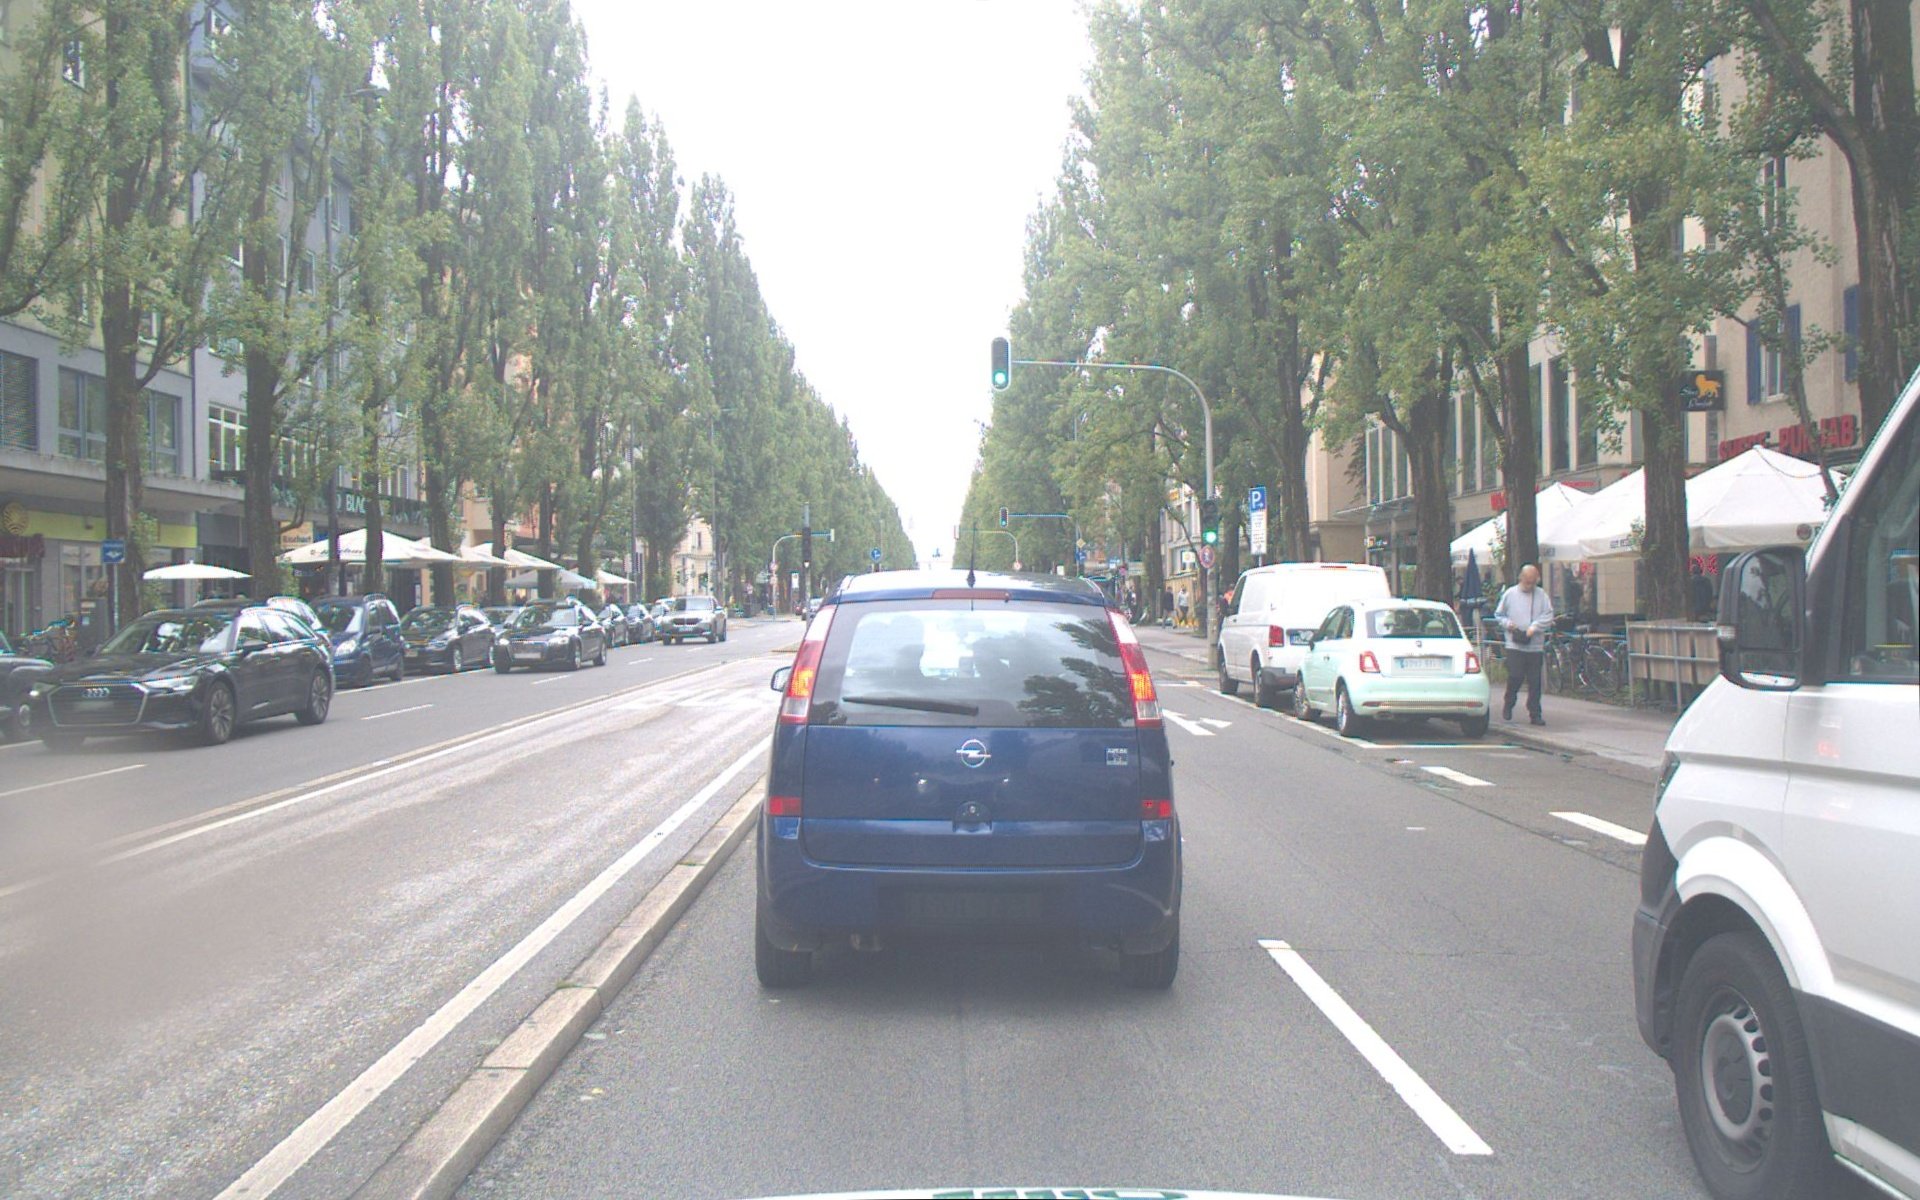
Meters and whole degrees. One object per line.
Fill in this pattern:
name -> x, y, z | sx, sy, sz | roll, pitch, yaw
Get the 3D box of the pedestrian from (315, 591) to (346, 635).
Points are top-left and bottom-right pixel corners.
pedestrian -> -20.882, 0.419, 54.860 | 0.750, 1.434, 0.799 | 1, -1, -6

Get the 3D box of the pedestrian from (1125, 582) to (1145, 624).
pedestrian -> 7.816, 0.128, 73.796 | 0.625, 1.859, 0.885 | 1, -1, -11

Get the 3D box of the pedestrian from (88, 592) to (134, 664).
pedestrian -> -20.621, 0.677, 40.187 | 0.740, 1.715, 0.675 | -1, -1, 1

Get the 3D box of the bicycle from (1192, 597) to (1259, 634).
bicycle -> 9.219, 0.525, 57.443 | 2.182, 1.225, 0.626 | -1, 0, -3

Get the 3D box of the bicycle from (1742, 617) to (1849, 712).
bicycle -> 9.453, 0.711, 18.758 | 0.342, 1.013, 1.453 | -2, 0, -4

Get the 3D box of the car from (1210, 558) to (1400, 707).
car -> 4.968, 0.418, 24.441 | 1.751, 1.980, 4.729 | 0, 0, -1

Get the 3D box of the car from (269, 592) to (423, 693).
car -> -11.798, 0.764, 32.030 | 1.676, 1.751, 3.919 | -2, 0, -4

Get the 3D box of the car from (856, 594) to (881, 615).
car -> -6.861, 0.340, 124.081 | 1.699, 1.491, 3.364 | -1, 0, -1

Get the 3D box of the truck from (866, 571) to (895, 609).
truck -> -7.381, -0.934, 154.186 | 2.334, 3.405, 7.109 | -1, 0, -1

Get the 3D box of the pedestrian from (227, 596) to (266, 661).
pedestrian -> -19.360, 0.774, 44.902 | 0.740, 1.715, 0.675 | -1, -1, 0

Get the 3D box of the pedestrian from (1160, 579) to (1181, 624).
pedestrian -> 8.789, 0.074, 69.189 | 0.625, 1.859, 0.885 | 1, -1, -11

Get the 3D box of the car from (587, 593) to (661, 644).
car -> -12.102, 0.653, 59.784 | 1.828, 1.694, 4.119 | -2, 0, -1

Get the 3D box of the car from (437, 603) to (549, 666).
car -> -11.903, 0.850, 42.436 | 1.698, 1.450, 4.142 | -2, 0, -1

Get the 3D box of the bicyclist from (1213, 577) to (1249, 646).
bicyclist -> 7.116, 0.293, 43.449 | 0.752, 1.797, 0.885 | -1, 0, -1

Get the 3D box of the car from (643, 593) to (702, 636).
car -> -12.228, 0.608, 70.570 | 1.828, 1.694, 4.119 | -2, 0, -1

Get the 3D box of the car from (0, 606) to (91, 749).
car -> -11.657, 0.913, 18.226 | 1.828, 1.579, 4.413 | -2, 0, -1

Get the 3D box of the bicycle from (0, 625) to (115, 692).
bicycle -> -16.172, 1.032, 29.370 | 1.909, 1.114, 0.718 | 2, 0, -7

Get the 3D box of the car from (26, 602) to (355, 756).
car -> -8.817, 0.817, 19.460 | 1.663, 1.488, 4.712 | -2, 0, -1

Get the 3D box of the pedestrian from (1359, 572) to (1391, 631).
pedestrian -> 12.350, 0.055, 49.203 | 0.660, 1.715, 0.758 | -1, -1, -5

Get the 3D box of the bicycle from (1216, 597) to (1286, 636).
bicycle -> 9.588, 0.526, 54.536 | 2.182, 1.225, 0.626 | -1, 0, -3

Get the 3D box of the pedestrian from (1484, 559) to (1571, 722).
pedestrian -> 6.439, 0.455, 18.812 | 0.809, 1.804, 0.871 | -1, 0, 11

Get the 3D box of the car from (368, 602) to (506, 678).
car -> -11.756, 0.848, 37.467 | 1.762, 1.514, 4.349 | -2, 0, -1

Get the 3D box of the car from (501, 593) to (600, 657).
car -> -11.938, 0.688, 48.487 | 1.828, 1.694, 4.400 | -2, 0, -1

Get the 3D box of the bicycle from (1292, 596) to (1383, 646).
bicycle -> 9.708, 0.529, 42.576 | 2.182, 1.225, 0.626 | -1, 0, -3

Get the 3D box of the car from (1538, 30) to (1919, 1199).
car -> 2.772, 0.237, 1.608 | 2.021, 2.536, 6.729 | 0, 0, -1

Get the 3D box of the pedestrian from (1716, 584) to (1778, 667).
pedestrian -> 13.037, 0.418, 27.423 | 0.625, 1.347, 0.800 | -1, 0, -1

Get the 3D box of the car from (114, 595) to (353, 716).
car -> -11.571, 0.809, 26.724 | 1.828, 1.693, 4.610 | -2, 0, -1

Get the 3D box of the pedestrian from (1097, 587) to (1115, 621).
pedestrian -> 7.684, 0.200, 87.068 | 0.865, 1.797, 0.769 | -1, 0, -4

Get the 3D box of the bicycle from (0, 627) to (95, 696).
bicycle -> -16.100, 1.052, 28.541 | 1.909, 1.114, 0.718 | 2, 0, -7

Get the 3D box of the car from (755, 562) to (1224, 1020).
car -> 0.084, 0.659, 7.781 | 1.637, 1.596, 3.999 | 0, 0, -1

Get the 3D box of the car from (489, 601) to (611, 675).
car -> -9.081, 0.805, 36.959 | 1.710, 1.459, 4.129 | -2, 0, -1

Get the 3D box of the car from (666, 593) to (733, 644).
car -> -9.102, 0.624, 58.022 | 1.735, 1.663, 4.454 | -2, 0, -2

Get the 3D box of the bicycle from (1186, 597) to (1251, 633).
bicycle -> 9.175, 0.526, 58.820 | 2.182, 1.225, 0.626 | -1, 0, -3

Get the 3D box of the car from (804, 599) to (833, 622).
car -> -10.612, 0.781, 124.421 | 1.828, 1.695, 4.119 | -1, 0, -1

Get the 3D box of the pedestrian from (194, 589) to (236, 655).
pedestrian -> -19.535, 0.574, 43.378 | 0.740, 1.715, 0.675 | -1, -1, 0

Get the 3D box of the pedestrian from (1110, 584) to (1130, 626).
pedestrian -> 7.104, 0.217, 73.526 | 0.625, 1.859, 0.885 | 1, -1, -11

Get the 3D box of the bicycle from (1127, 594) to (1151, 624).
bicycle -> 8.223, 0.399, 76.047 | 0.757, 1.372, 2.449 | -1, 0, -1

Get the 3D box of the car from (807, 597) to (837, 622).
car -> -9.781, 0.639, 117.563 | 1.828, 1.695, 4.119 | -1, 0, -1

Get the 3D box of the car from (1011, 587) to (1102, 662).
car -> 2.189, 0.536, 38.553 | 1.858, 1.650, 3.999 | 0, 0, -1

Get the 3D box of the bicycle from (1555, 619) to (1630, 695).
bicycle -> 8.796, 0.779, 23.042 | 0.342, 1.013, 1.453 | -2, 0, -4

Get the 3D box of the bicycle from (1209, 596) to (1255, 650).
bicycle -> 7.116, 0.590, 43.388 | 0.757, 1.372, 2.449 | -1, 0, -1

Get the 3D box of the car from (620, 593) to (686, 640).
car -> -12.082, 0.623, 65.311 | 1.828, 1.694, 4.119 | -2, 0, -1

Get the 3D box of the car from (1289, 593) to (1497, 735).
car -> 4.969, 0.682, 19.386 | 1.509, 1.518, 3.523 | 0, 0, 0

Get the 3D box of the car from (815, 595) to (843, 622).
car -> -10.401, 0.653, 131.956 | 1.953, 2.049, 3.999 | -1, 0, -1

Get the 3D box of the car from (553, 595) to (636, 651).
car -> -11.997, 0.720, 54.537 | 1.828, 1.694, 4.119 | -2, 0, -1

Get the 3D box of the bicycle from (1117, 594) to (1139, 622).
bicycle -> 8.232, 0.388, 81.140 | 0.757, 1.372, 2.449 | -1, 0, -1

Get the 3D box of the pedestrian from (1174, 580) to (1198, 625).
pedestrian -> 9.485, 0.099, 69.454 | 0.707, 1.859, 0.885 | 1, -1, -11
